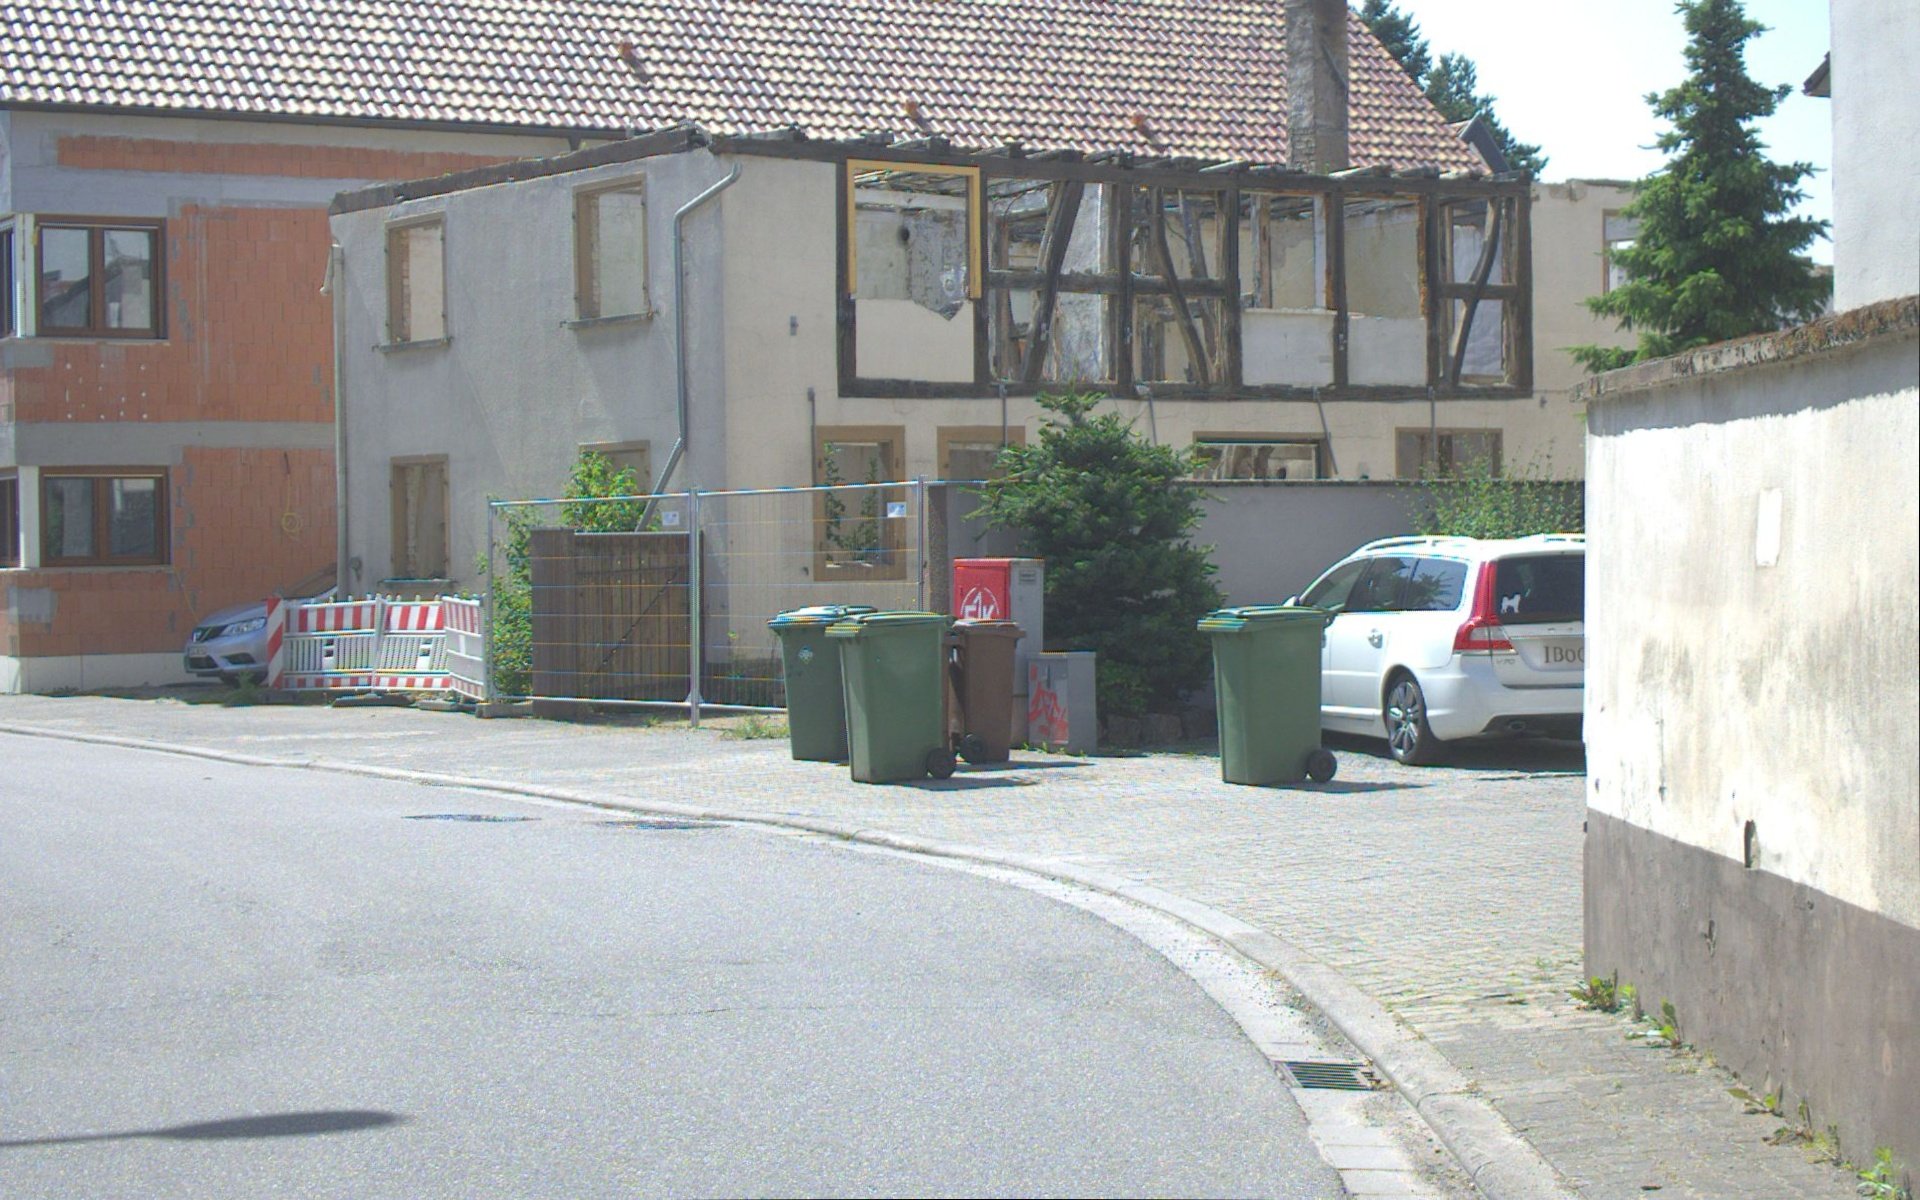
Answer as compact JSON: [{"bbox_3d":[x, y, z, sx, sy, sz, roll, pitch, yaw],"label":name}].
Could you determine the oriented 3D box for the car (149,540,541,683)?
[{"bbox_3d":[-7.184,0.107,40.327,4.089,1.502,1.870,-2,2,-36],"label":"car"}]

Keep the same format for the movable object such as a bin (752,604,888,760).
[{"bbox_3d":[-0.992,0.572,24.416,0.671,1.068,0.760,0,1,27],"label":"movable object such as a bin"}]

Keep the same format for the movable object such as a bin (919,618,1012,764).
[{"bbox_3d":[0.034,0.617,23.520,0.465,0.967,0.496,-1,1,-24],"label":"movable object such as a bin"}]

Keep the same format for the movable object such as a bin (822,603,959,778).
[{"bbox_3d":[-0.455,0.574,22.193,0.686,1.088,0.638,-1,1,-23],"label":"movable object such as a bin"}]

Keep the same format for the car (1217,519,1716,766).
[{"bbox_3d":[3.389,0.222,23.877,1.810,1.523,4.298,-1,1,-16],"label":"car"}]

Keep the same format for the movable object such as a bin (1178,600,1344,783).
[{"bbox_3d":[1.843,0.548,21.106,0.720,1.077,0.755,-1,1,-26],"label":"movable object such as a bin"}]
